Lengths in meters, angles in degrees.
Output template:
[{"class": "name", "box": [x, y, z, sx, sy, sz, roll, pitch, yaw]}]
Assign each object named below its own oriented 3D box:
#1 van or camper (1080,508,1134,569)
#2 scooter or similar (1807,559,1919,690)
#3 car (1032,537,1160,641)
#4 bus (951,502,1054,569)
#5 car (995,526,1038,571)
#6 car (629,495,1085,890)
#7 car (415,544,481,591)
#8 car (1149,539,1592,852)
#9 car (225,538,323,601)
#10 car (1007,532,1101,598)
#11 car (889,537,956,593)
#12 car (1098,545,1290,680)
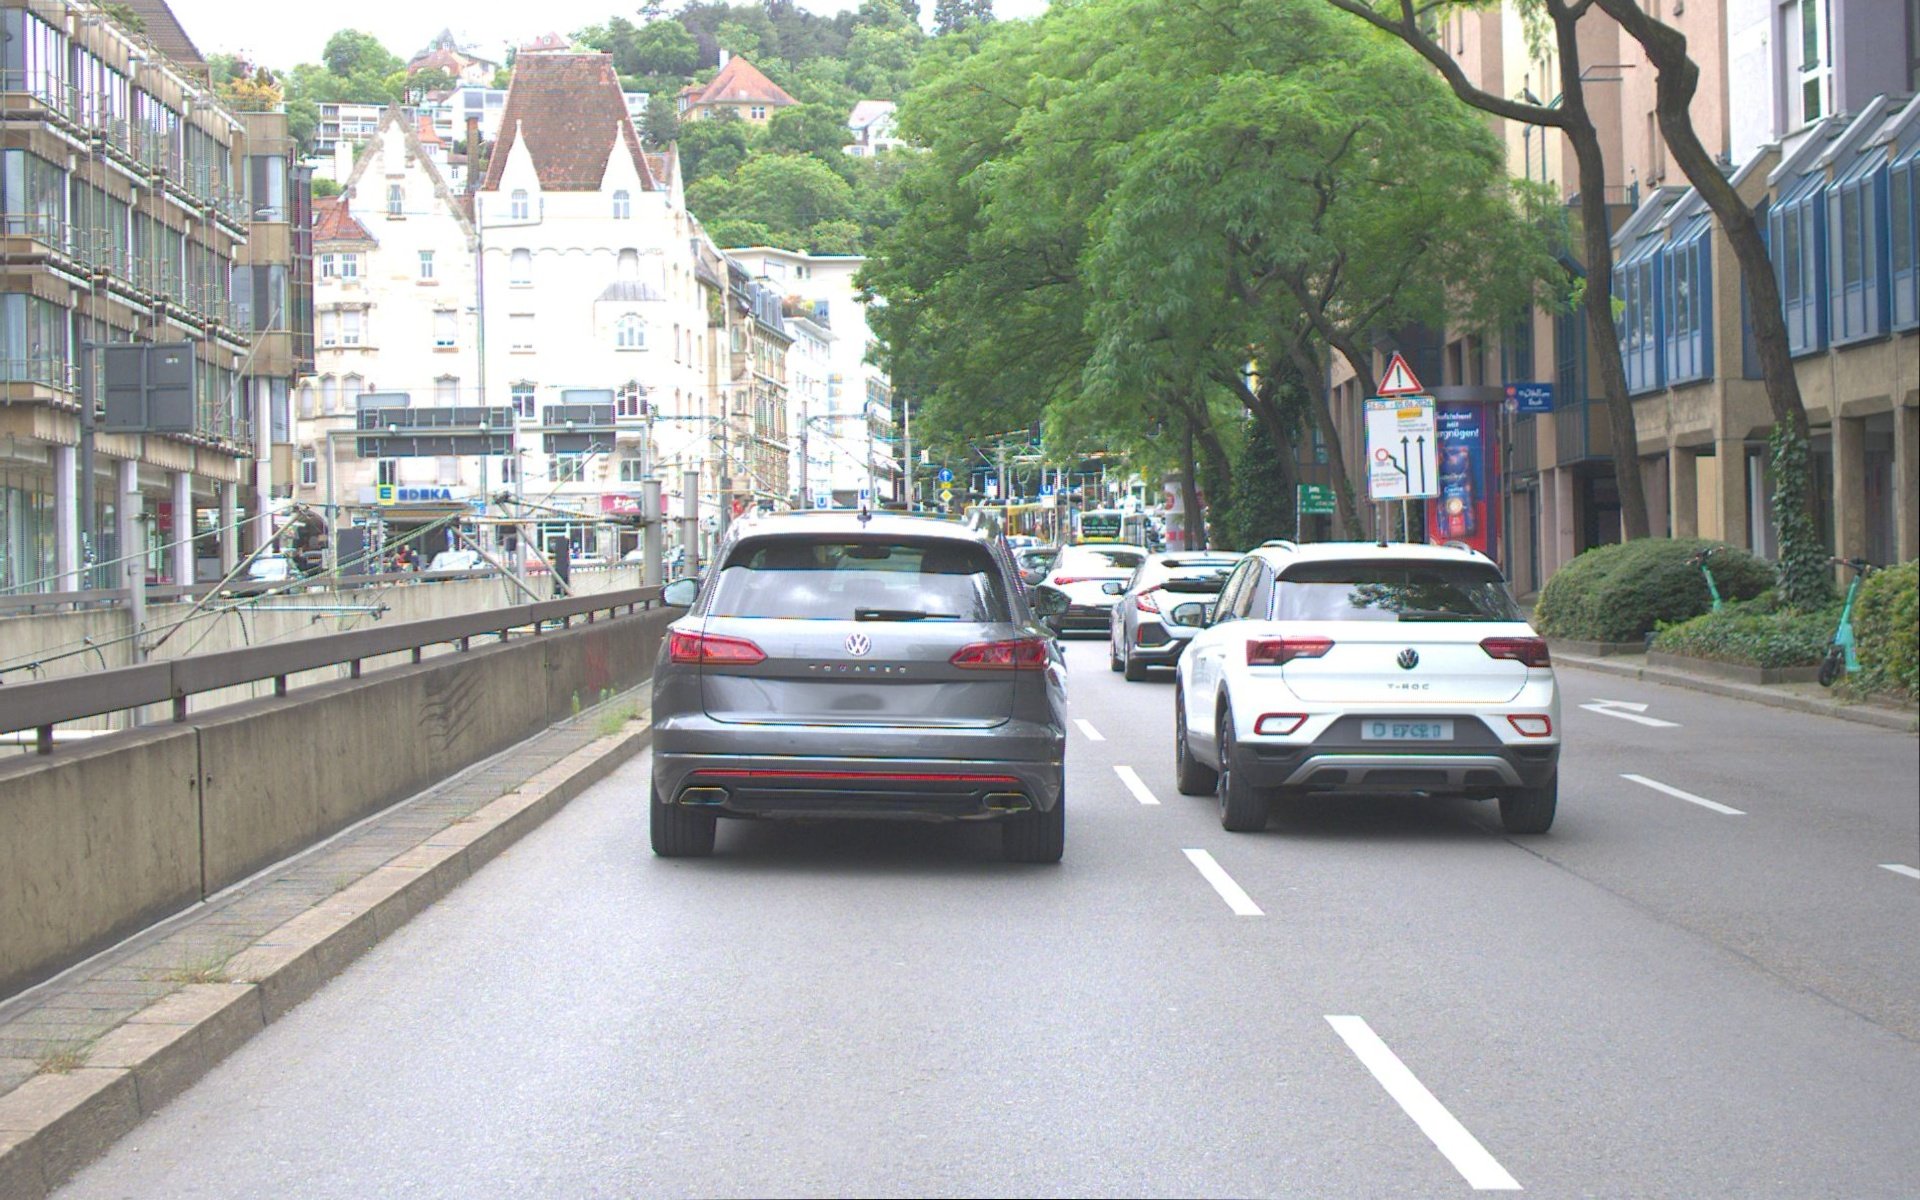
[{"class": "van or camper", "box": [7.901, -3.326, 184.655, 2.628, 3.167, 5.802, -1, 1, 4]}, {"class": "scooter or similar", "box": [8.554, 0.222, 32.249, 1.108, 1.177, 0.427, -2, 1, 10]}, {"class": "car", "box": [2.102, -0.190, 53.990, 1.832, 1.512, 3.767, -2, 1, 0]}, {"class": "bus", "box": [2.514, -3.661, 193.731, 3.851, 3.520, 17.241, -1, 1, 7]}, {"class": "car", "box": [2.482, -2.269, 151.262, 1.832, 1.868, 4.870, -2, 1, 1]}, {"class": "car", "box": [-0.635, 0.376, 17.300, 1.970, 1.690, 4.225, 2, 1, -5]}, {"class": "car", "box": [-20.249, -1.298, 136.101, 1.993, 1.761, 4.281, -1, 1, -1]}, {"class": "car", "box": [2.199, 0.456, 19.457, 1.797, 1.540, 3.936, 1, 1, -3]}, {"class": "car", "box": [-19.979, -0.908, 100.272, 1.993, 1.761, 4.281, -1, 1, -1]}, {"class": "car", "box": [2.061, -0.775, 76.352, 1.832, 1.358, 3.767, -2, 1, -2]}, {"class": "car", "box": [-1.142, -1.046, 102.080, 1.832, 1.561, 3.767, -2, 1, -2]}, {"class": "car", "box": [2.570, 0.135, 38.606, 1.833, 1.427, 4.147, 0, 0, -1]}]
